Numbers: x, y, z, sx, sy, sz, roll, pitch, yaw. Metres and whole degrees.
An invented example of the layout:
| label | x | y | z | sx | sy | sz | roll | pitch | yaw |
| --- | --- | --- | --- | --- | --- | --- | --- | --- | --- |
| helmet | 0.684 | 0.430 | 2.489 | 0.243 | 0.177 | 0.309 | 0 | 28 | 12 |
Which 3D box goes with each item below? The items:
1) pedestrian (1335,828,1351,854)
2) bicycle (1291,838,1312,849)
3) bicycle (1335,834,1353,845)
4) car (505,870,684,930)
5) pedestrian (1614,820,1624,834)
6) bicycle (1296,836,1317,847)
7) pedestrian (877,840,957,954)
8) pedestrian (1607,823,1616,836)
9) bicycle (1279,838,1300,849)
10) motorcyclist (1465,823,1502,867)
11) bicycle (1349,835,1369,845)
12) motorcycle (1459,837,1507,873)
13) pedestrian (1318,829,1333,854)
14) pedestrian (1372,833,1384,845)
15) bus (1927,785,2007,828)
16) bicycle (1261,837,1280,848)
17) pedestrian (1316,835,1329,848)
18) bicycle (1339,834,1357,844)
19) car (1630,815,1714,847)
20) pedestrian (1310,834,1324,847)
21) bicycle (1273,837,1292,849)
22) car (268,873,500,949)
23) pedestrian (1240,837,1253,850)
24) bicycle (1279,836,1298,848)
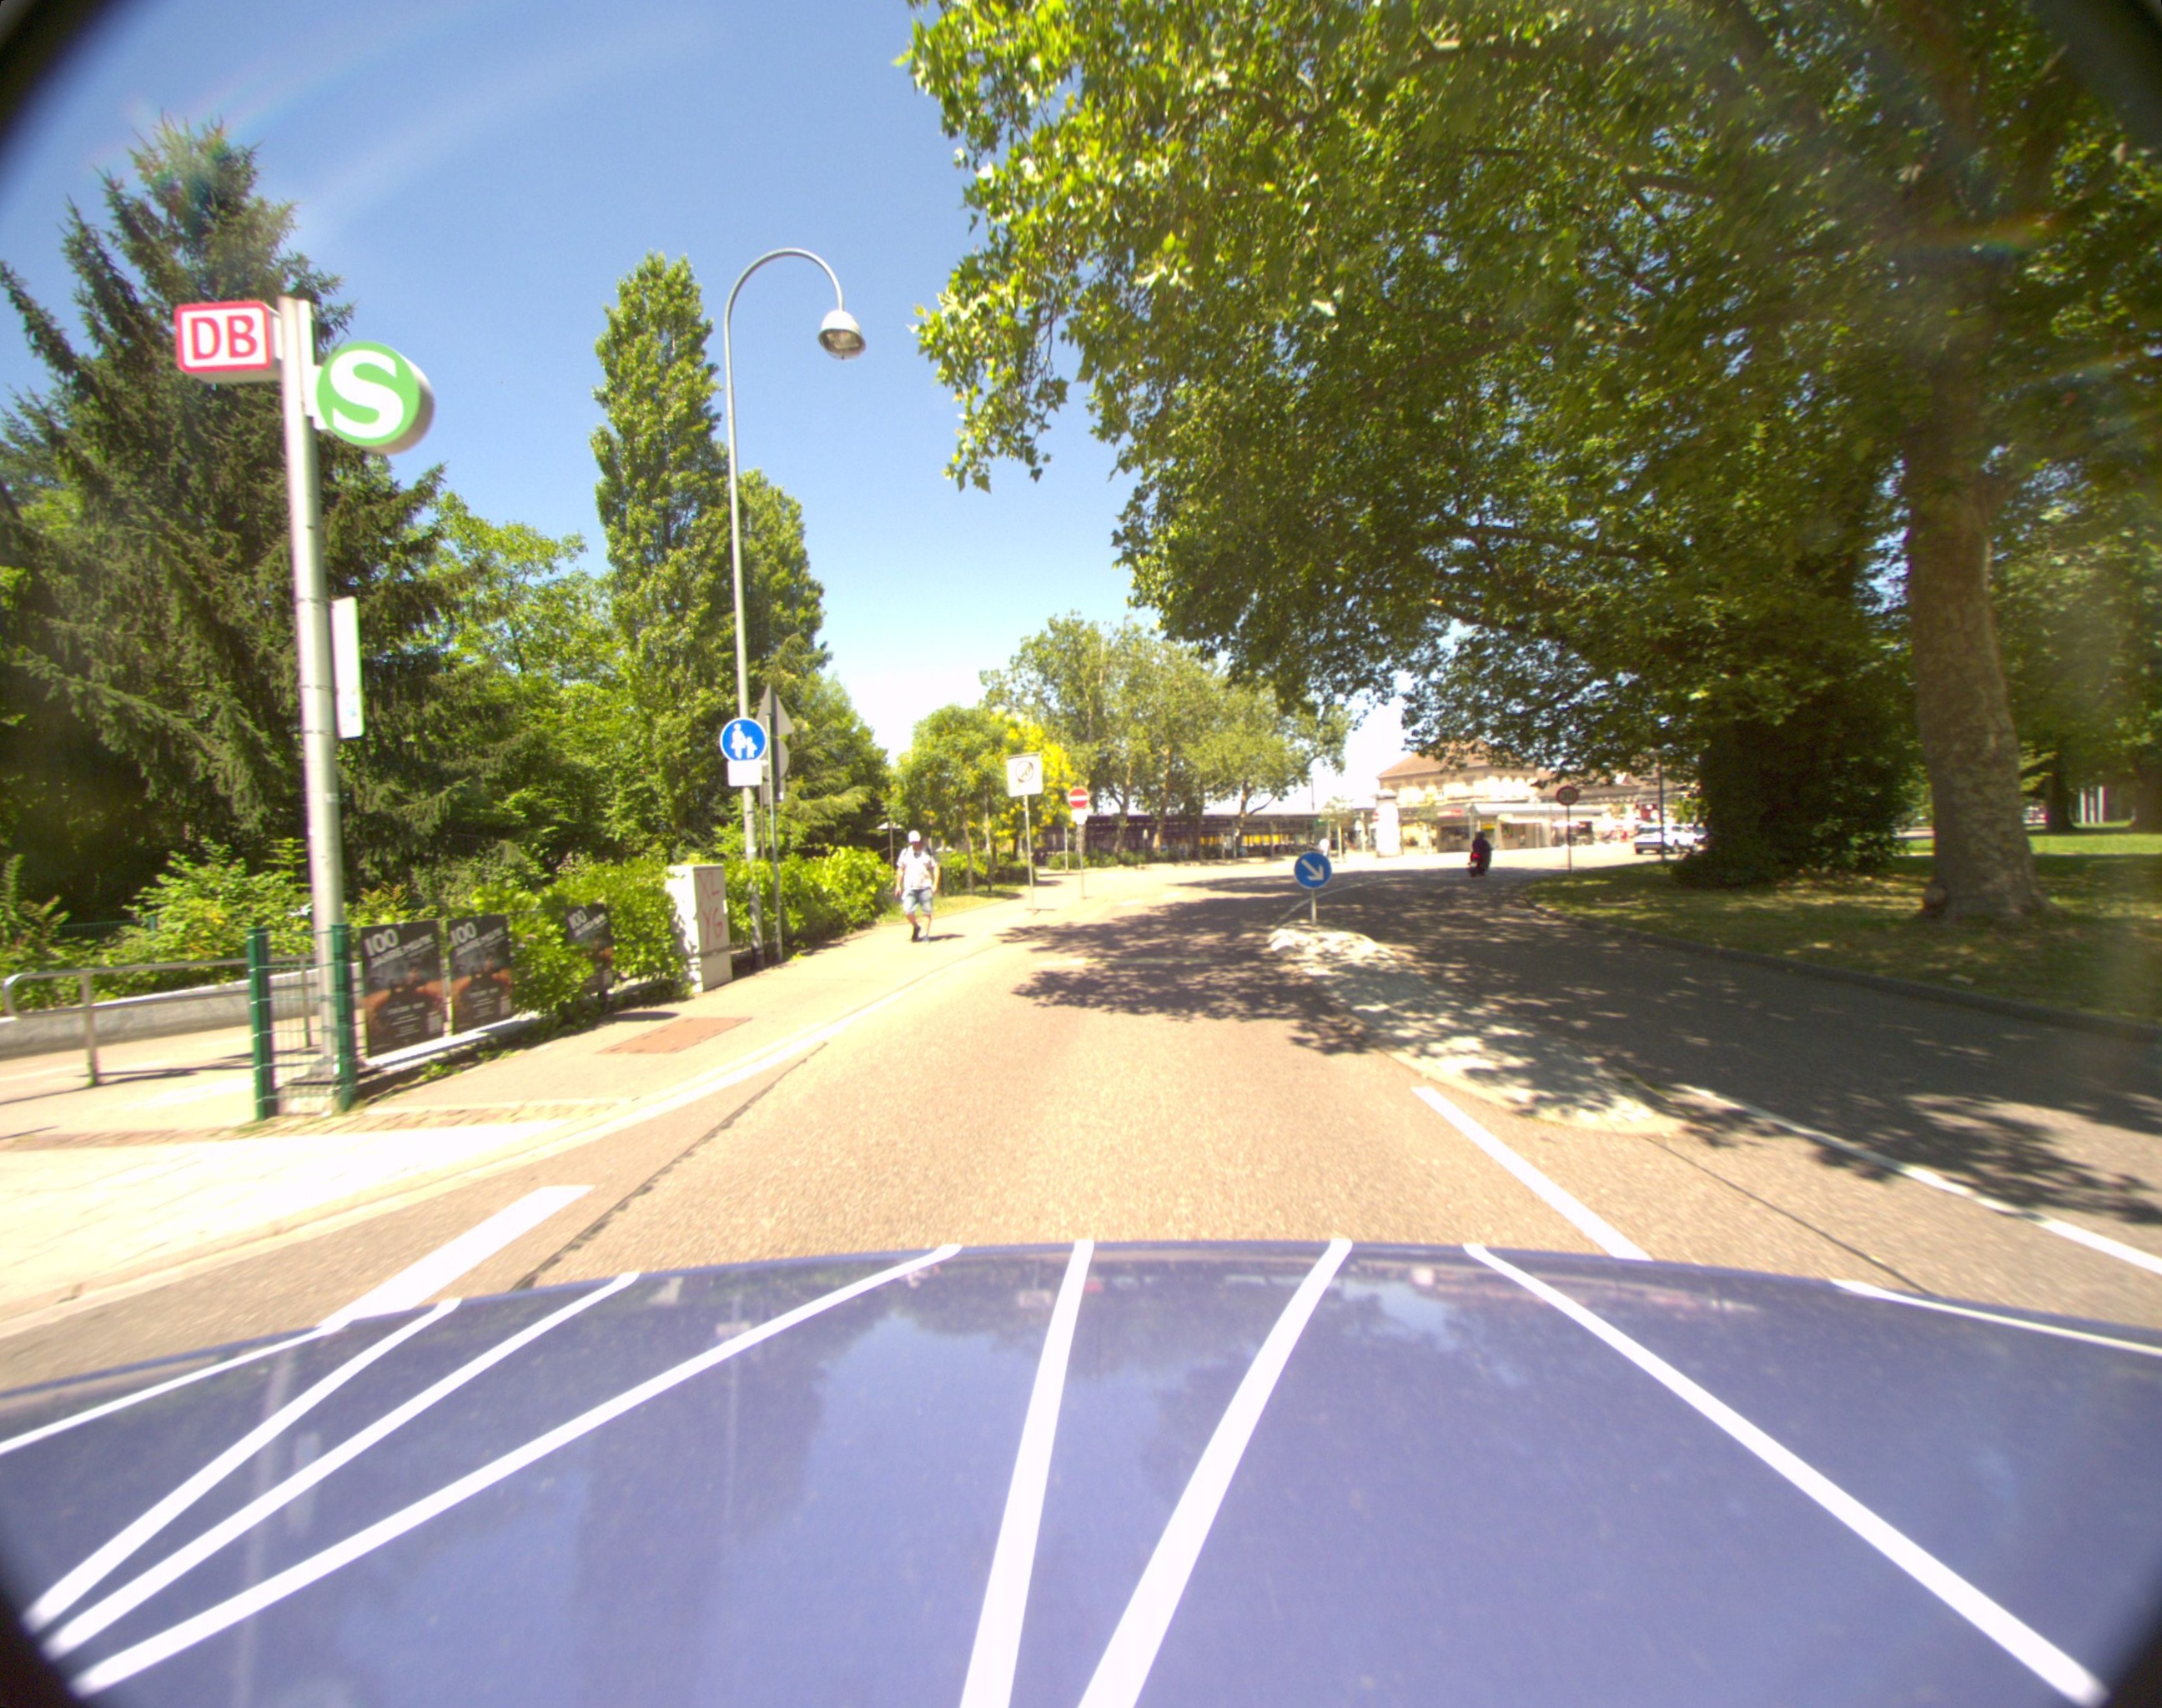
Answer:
| label | x | y | z | sx | sy | sz | roll | pitch | yaw |
| --- | --- | --- | --- | --- | --- | --- | --- | --- | --- |
| pedestrian | 18.704 | -0.912 | 54.274 | 0.914 | 1.775 | 0.695 | -2 | 1 | 10 |
| bicycle | 23.394 | -1.091 | 80.578 | 0.671 | 1.068 | 2.164 | -7 | 5 | -35 |
| bicycle | 31.236 | -1.738 | 90.214 | 2.172 | 1.068 | 0.669 | -6 | 5 | -29 |
| car | -15.055 | 1.365 | 23.756 | 4.506 | 1.491 | 1.766 | -3 | 1 | -32 |
| pedestrian | 48.058 | -2.396 | 67.870 | 0.514 | 1.225 | 0.502 | -3 | 1 | -38 |
| bicycle | 25.930 | -1.425 | 87.350 | 2.163 | 1.068 | 0.865 | -1 | 5 | 40 |
| pedestrian | -2.640 | 0.657 | 12.306 | 0.913 | 1.762 | 0.916 | 0 | 2 | 18 |
| pedestrian | 47.659 | -2.206 | 68.216 | 0.472 | 1.204 | 0.489 | -3 | 1 | -26 |
| bicycle | 21.860 | -1.085 | 79.665 | 0.671 | 1.068 | 2.164 | -7 | 5 | -35 |
| motorcyclist | 14.747 | -0.346 | 27.809 | 1.106 | 1.546 | 0.808 | -4 | 2 | -41 |
| bicycle | 31.594 | -1.624 | 86.269 | 0.671 | 1.068 | 2.164 | -7 | 5 | -28 |
| motorcycle | 14.724 | 0.025 | 27.775 | 2.054 | 1.224 | 0.808 | -3 | 1 | -40 |
| pedestrian | 17.527 | -0.919 | 54.403 | 0.913 | 1.726 | 0.676 | -2 | 1 | 12 |
| pedestrian | 32.760 | -1.617 | 83.844 | 0.832 | 1.297 | 0.960 | -3 | 1 | -31 |
| bus | 74.687 | -4.031 | 63.971 | 11.875 | 3.283 | 2.809 | -3 | 1 | -33 |
| bicycle | 21.605 | -1.264 | 86.387 | 2.172 | 1.068 | 0.669 | -6 | 5 | -29 |
| pedestrian | 25.022 | -1.282 | 78.723 | 0.832 | 1.297 | 0.960 | -3 | 1 | -31 |
| bicycle | 31.512 | -1.766 | 89.549 | 2.172 | 1.068 | 0.669 | -6 | 5 | -29 |
| car | 32.984 | -1.289 | 42.396 | 4.329 | 1.737 | 2.044 | -1 | 2 | -28 |
| pedestrian | 24.285 | -1.390 | 78.191 | 0.832 | 1.378 | 0.960 | -3 | 1 | -31 |
| bicycle | 22.503 | -1.228 | 84.959 | 2.172 | 1.068 | 0.669 | -6 | 5 | -29 |
| car | -17.473 | 1.373 | 19.326 | 3.974 | 1.527 | 1.652 | -3 | 1 | -28 |
| pedestrian | 15.893 | -1.009 | 72.810 | 0.869 | 1.267 | 0.829 | -3 | 1 | -36 |
| bicycle | 22.980 | -1.327 | 84.042 | 2.172 | 1.068 | 0.669 | -6 | 5 | -29 |
